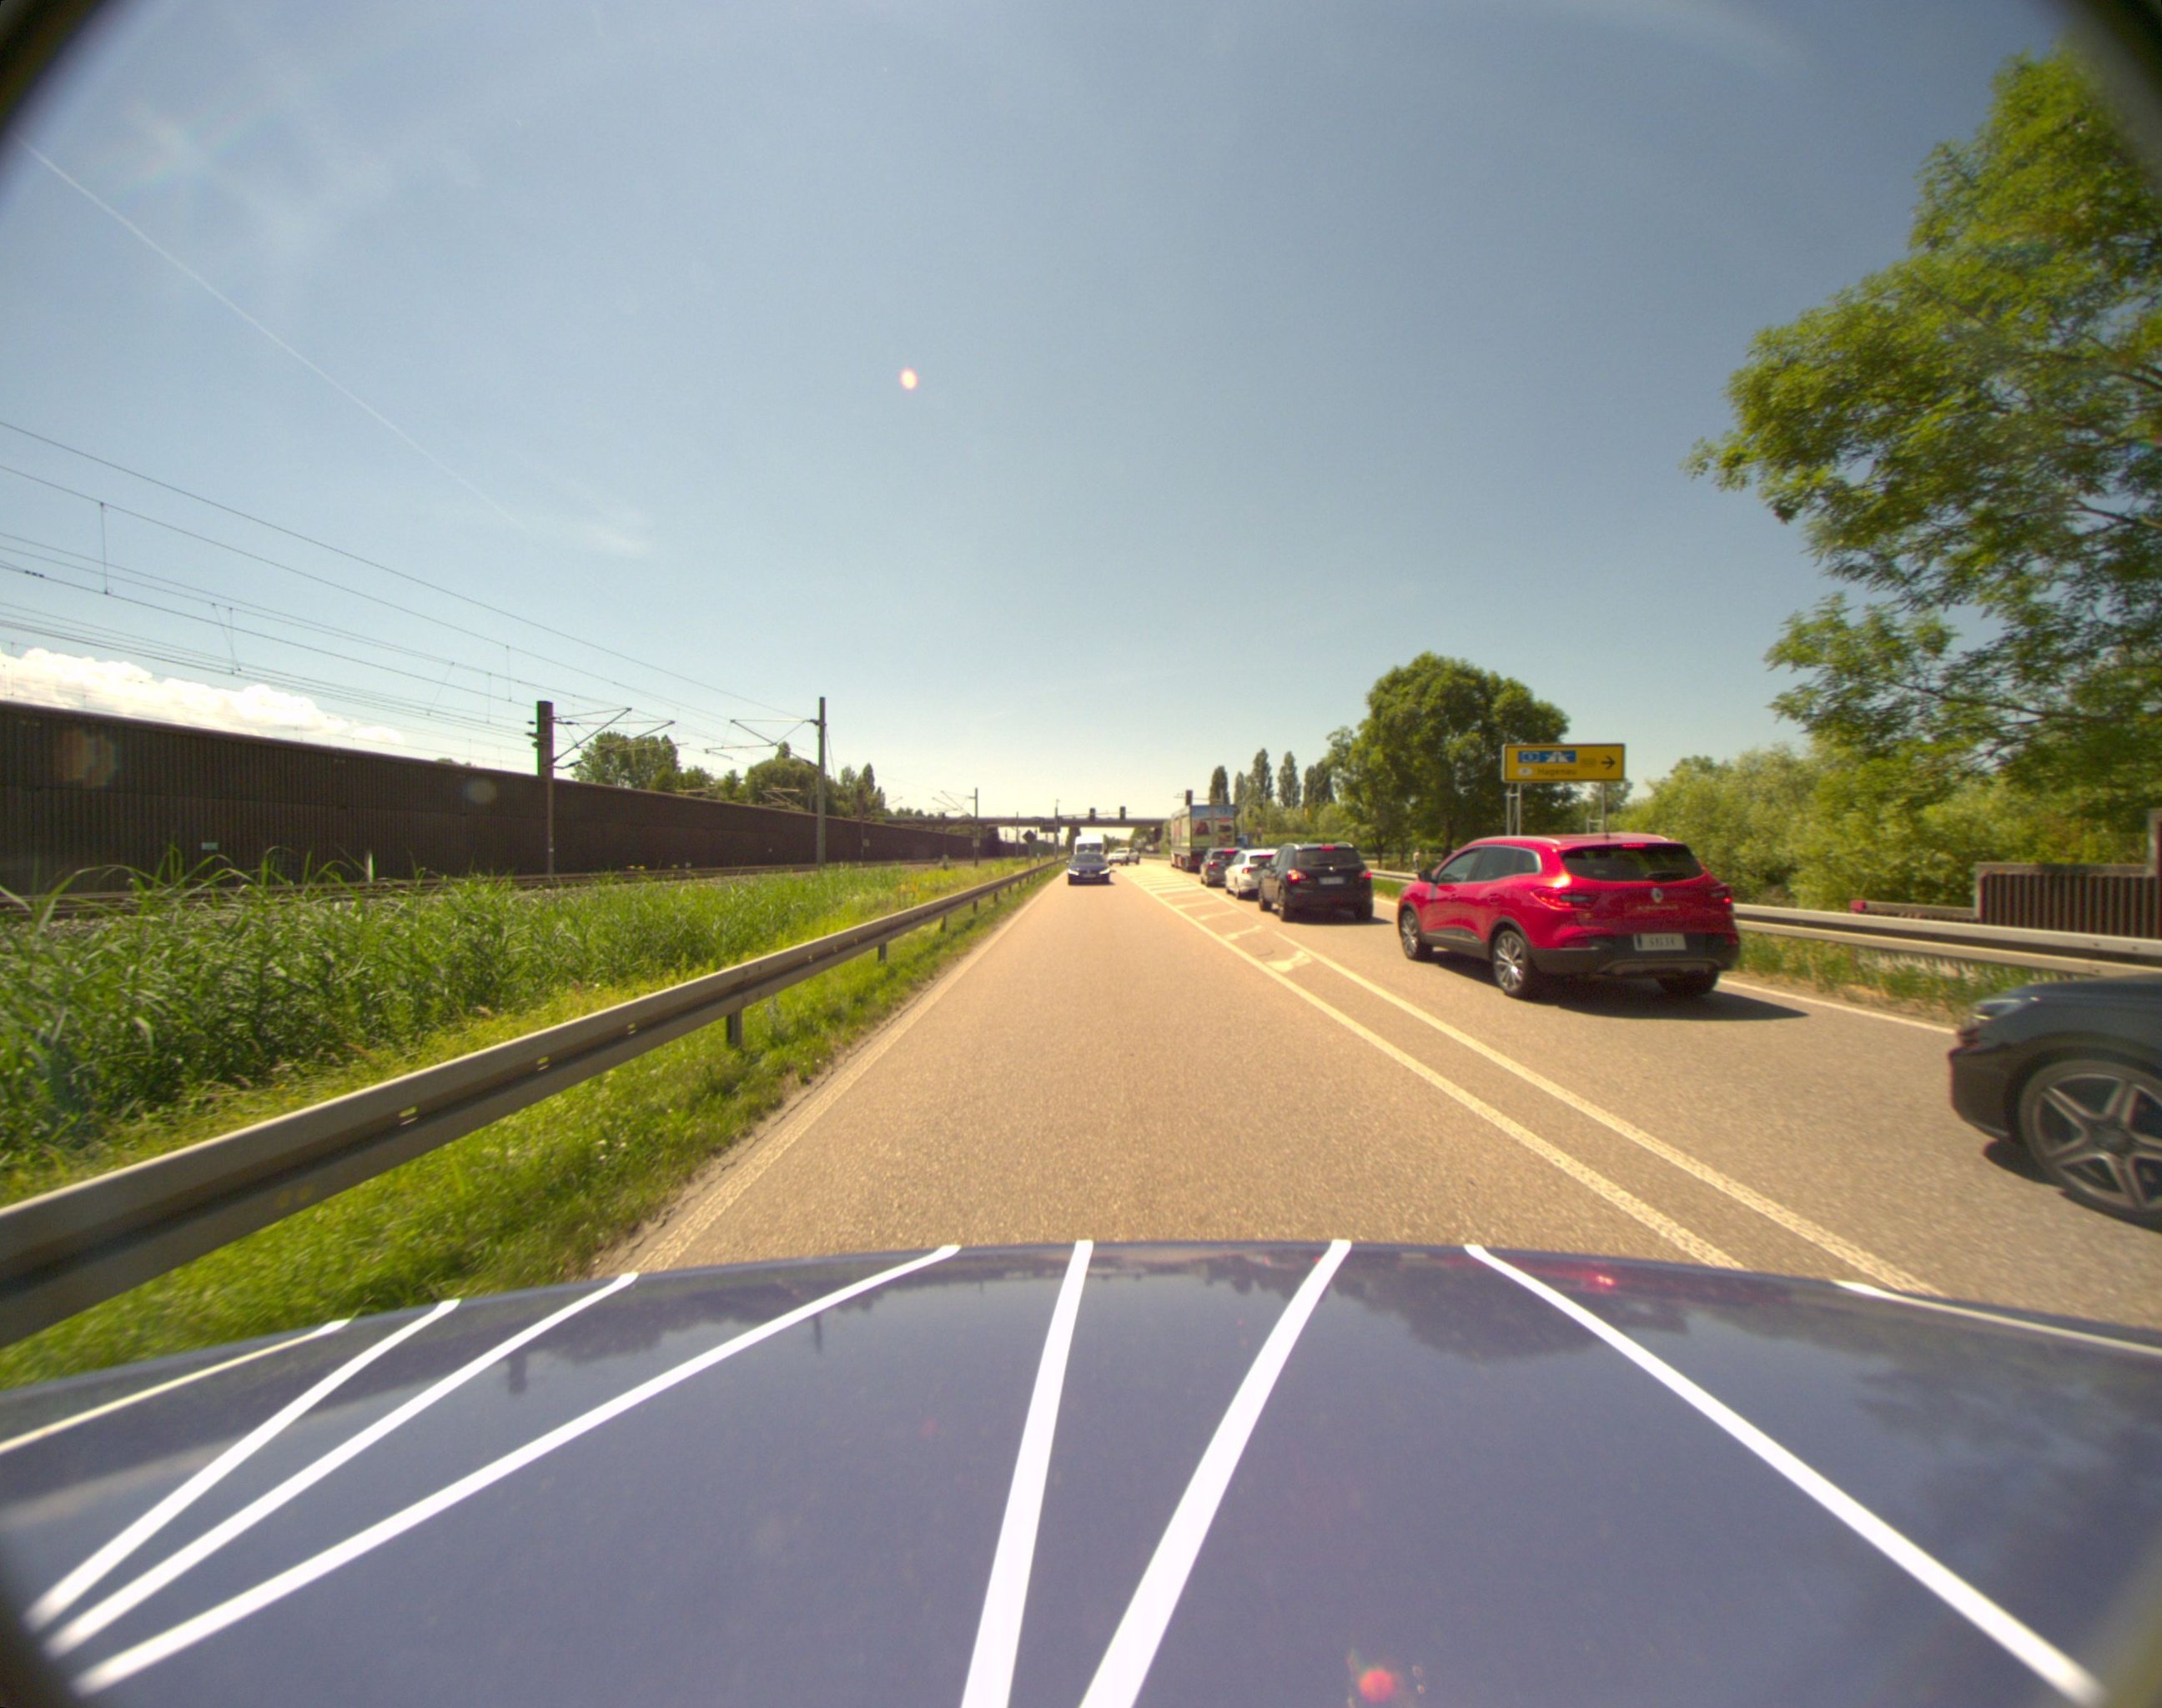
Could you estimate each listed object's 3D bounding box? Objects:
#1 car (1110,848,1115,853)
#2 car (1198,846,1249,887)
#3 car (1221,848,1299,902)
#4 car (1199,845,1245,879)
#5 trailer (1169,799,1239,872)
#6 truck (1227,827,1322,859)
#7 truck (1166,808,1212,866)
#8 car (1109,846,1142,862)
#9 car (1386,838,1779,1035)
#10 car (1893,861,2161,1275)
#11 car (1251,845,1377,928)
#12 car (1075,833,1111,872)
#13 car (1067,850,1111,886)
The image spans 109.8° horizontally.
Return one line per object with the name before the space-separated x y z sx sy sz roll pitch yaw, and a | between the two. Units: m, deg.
car | 10.445 -1.148 250.023 1.589 1.553 3.687 -2 0 2
car | 5.718 0.459 30.865 1.627 1.529 4.385 0 1 5
car | 5.432 0.574 23.570 1.657 1.470 4.631 -1 1 4
car | 6.968 0.349 37.937 1.716 1.553 4.154 -1 1 3
trailer | 7.792 -1.143 50.059 2.696 4.022 14.124 -2 1 2
truck | 19.938 -1.134 78.794 9.170 3.177 2.695 0 1 0
truck | 8.020 -1.255 56.949 2.696 4.022 5.825 -2 1 2
car | 4.049 -0.030 68.289 1.717 1.427 3.966 0 1 24
car | 5.032 0.684 8.475 1.759 1.622 4.280 -1 0 4
car | 4.677 0.798 1.353 1.689 1.451 4.616 -2 1 3
car | 5.021 0.611 16.994 1.720 1.580 4.535 -1 0 4
car | 0.887 -0.125 51.776 2.227 2.480 5.983 -1 0 2
car | 0.403 0.586 34.470 1.847 1.415 4.562 -1 1 2
